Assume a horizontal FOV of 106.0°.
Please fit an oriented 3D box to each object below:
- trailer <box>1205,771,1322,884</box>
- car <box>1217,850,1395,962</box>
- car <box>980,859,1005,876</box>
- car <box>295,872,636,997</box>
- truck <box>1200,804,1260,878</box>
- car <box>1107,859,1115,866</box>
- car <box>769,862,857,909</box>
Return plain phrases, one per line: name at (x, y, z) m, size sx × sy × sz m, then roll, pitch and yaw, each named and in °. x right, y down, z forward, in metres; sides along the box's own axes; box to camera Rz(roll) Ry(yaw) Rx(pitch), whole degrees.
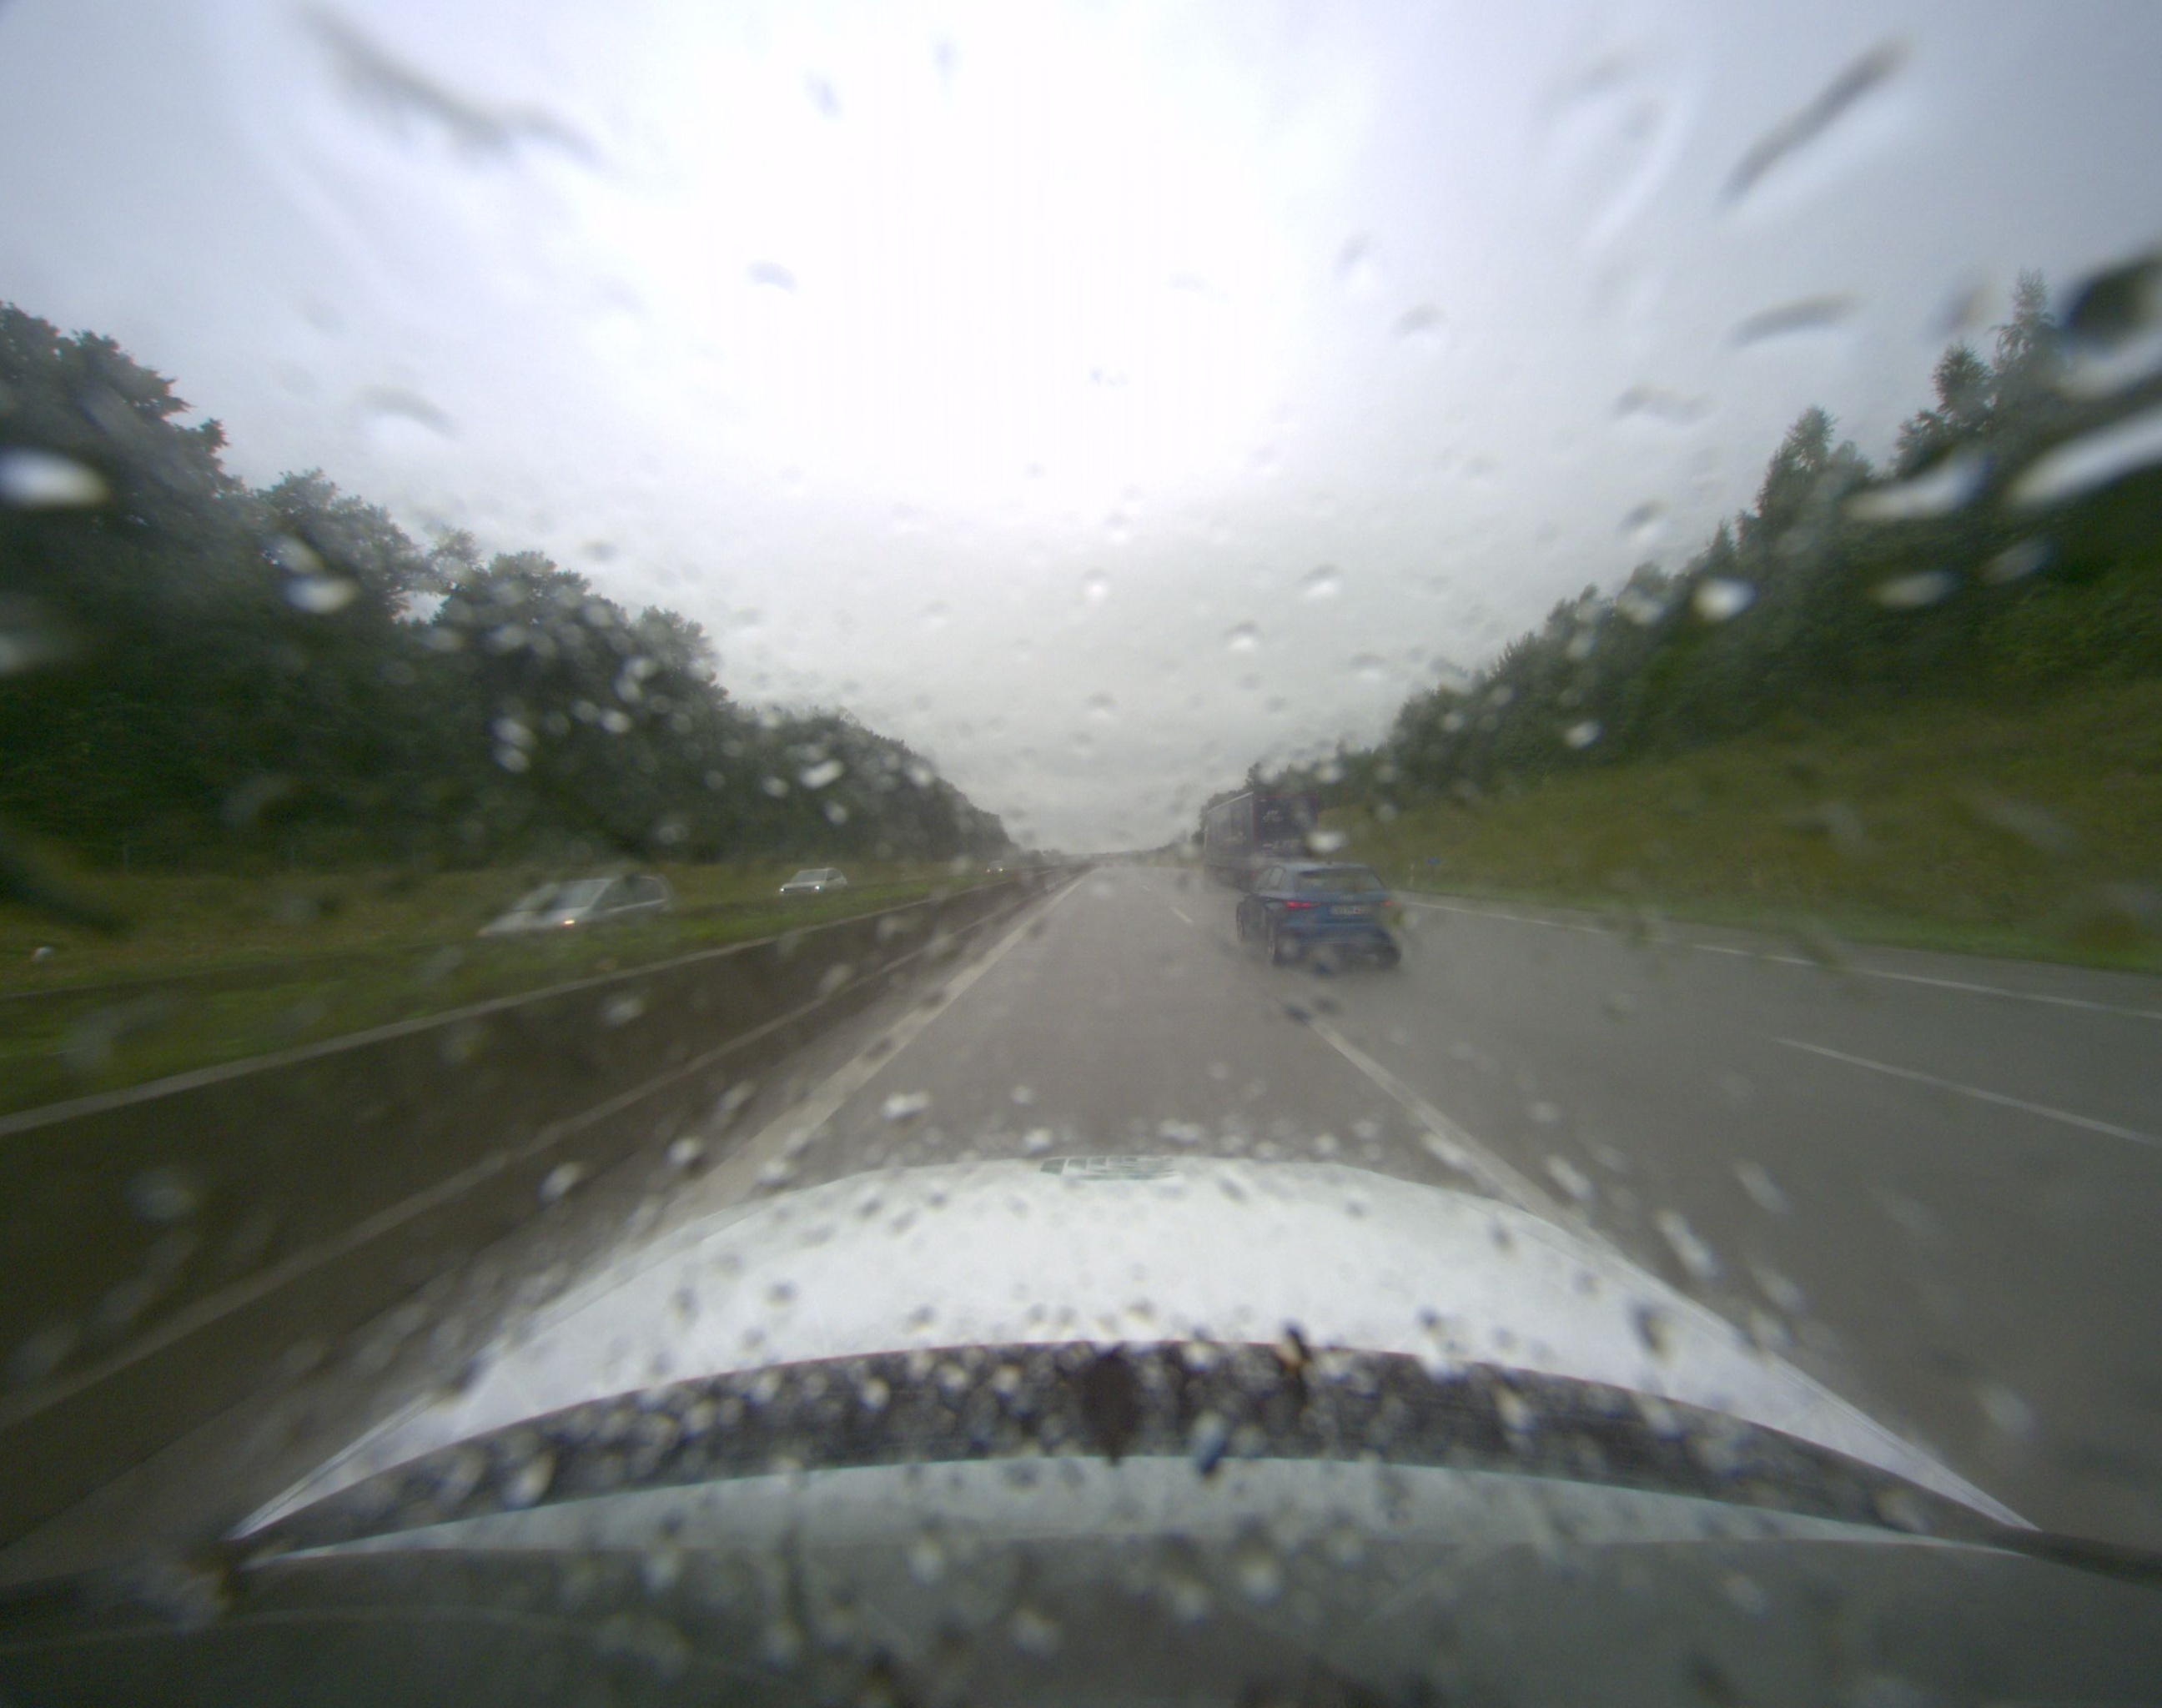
trailer at (8.274, -0.963, 39.446) m, size 2.696 × 4.379 × 15.210 m, roll -1°, pitch -1°, yaw 2°
car at (3.457, 0.761, 13.430) m, size 1.723 × 1.459 × 4.673 m, roll -2°, pitch -1°, yaw 2°
car at (-9.626, 1.458, 88.764) m, size 1.872 × 1.665 × 4.690 m, roll -3°, pitch -1°, yaw 3°
car at (-8.562, 1.022, 11.895) m, size 1.732 × 1.333 × 4.101 m, roll -2°, pitch 0°, yaw 2°
truck at (8.464, -0.673, 46.930) m, size 2.626 × 3.954 × 5.689 m, roll -1°, pitch -1°, yaw 2°
car at (6.105, 1.797, 165.524) m, size 1.723 × 1.331 × 4.431 m, roll -1°, pitch 0°, yaw 2°
car at (-10.927, 1.243, 33.549) m, size 1.872 × 1.665 × 4.689 m, roll -3°, pitch 0°, yaw 2°
